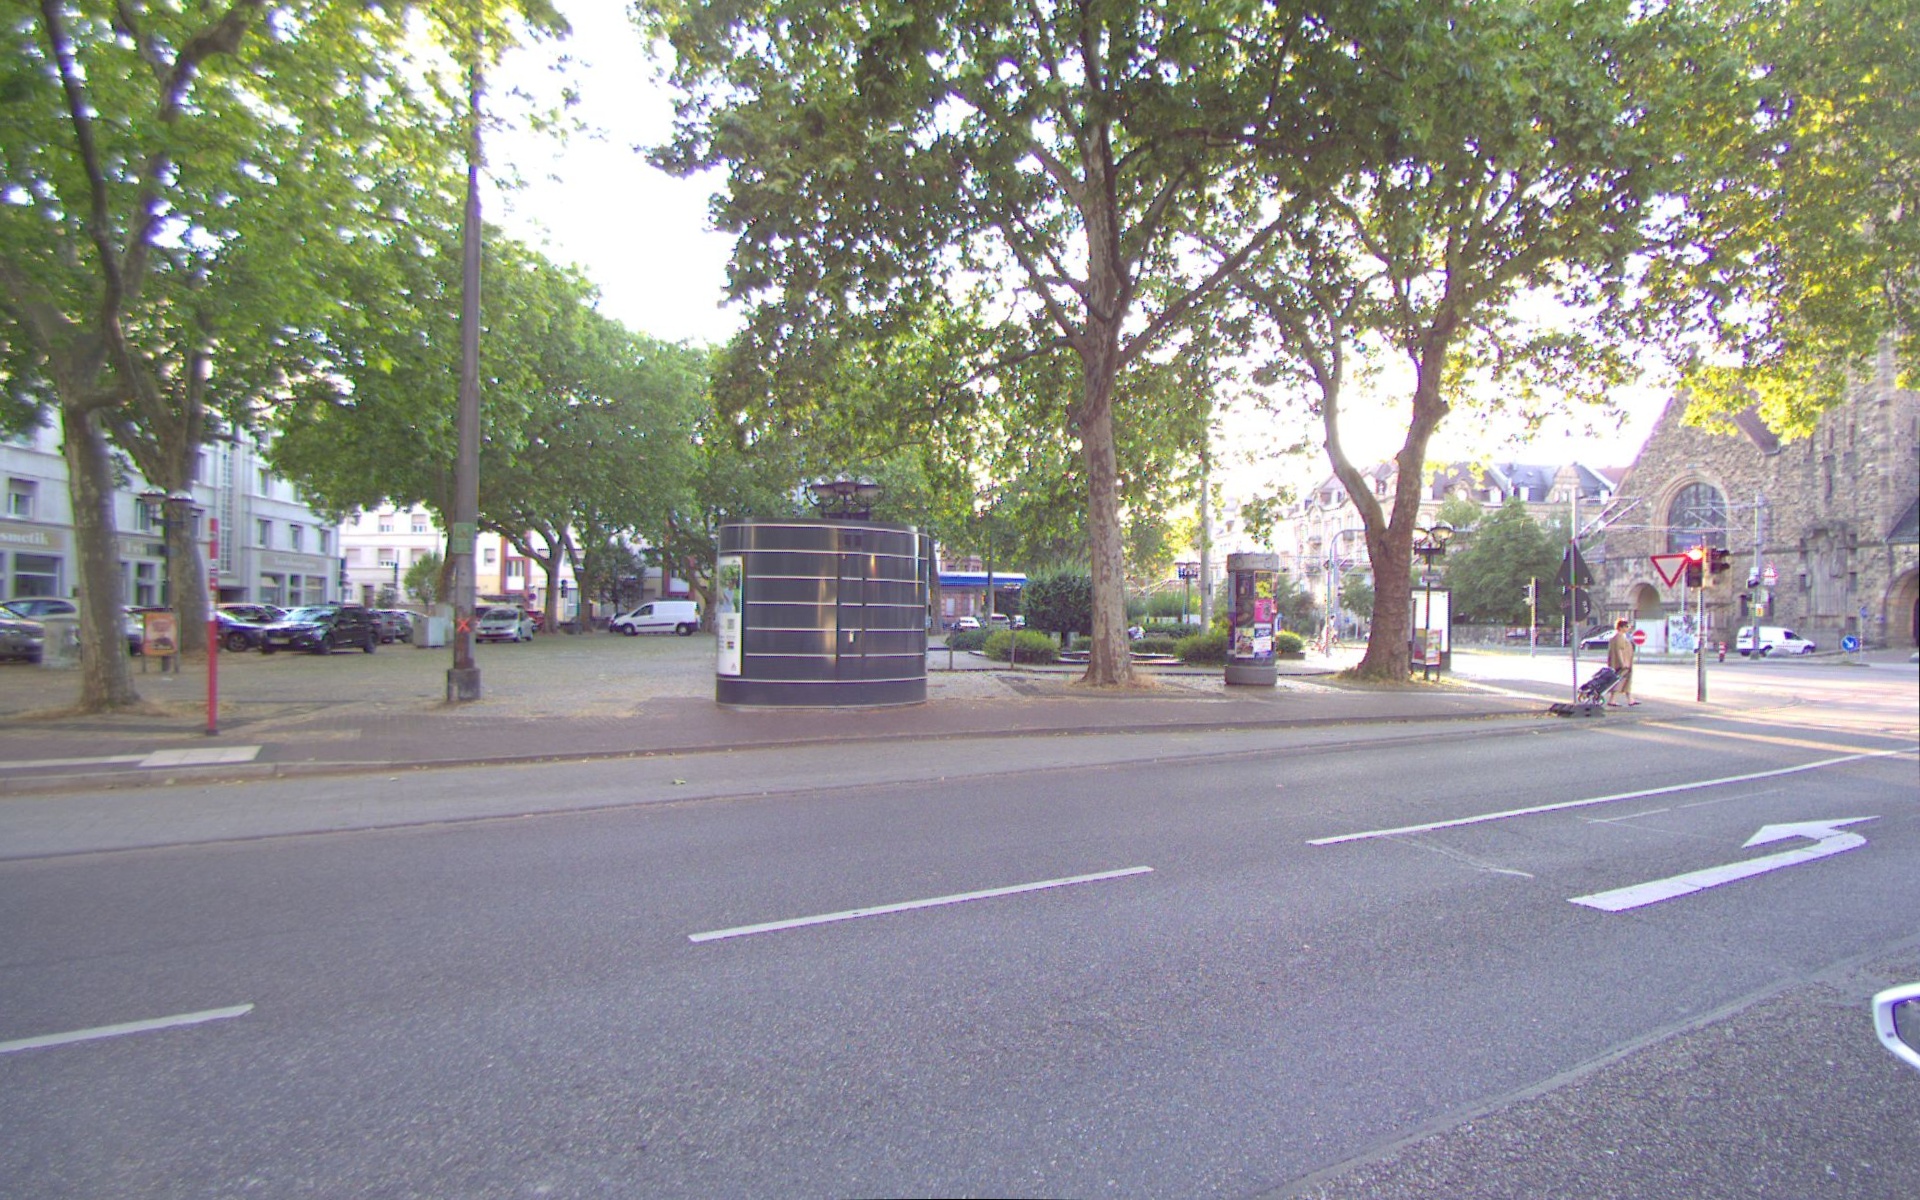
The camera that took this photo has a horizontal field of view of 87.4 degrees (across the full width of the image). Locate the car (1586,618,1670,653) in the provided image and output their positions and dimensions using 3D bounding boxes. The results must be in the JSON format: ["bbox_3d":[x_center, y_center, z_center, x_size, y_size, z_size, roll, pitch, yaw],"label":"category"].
[{"bbox_3d":[40.523,2.144,61.036,1.965,1.637,3.996,10,0,-6],"label":"car"}]

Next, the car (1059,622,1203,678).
[{"bbox_3d":[5.845,1.715,34.672,4.552,1.805,1.999,-1,-2,-5],"label":"car"}]

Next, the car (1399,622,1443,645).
[{"bbox_3d":[37.676,2.747,82.189,1.960,1.706,4.002,2,0,4],"label":"car"}]

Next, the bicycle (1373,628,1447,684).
[{"bbox_3d":[11.323,1.406,25.239,1.967,1.344,0.523,2,0,-26],"label":"bicycle"}]

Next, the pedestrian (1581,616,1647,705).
[{"bbox_3d":[12.558,1.149,19.288,0.766,1.649,0.796,2,0,-35],"label":"pedestrian"}]

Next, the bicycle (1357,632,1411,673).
[{"bbox_3d":[11.938,1.489,28.267,1.780,1.107,0.455,2,0,-33],"label":"bicycle"}]

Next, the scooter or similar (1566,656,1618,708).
[{"bbox_3d":[11.847,1.525,18.832,0.845,0.910,0.586,2,0,-41],"label":"scooter or similar"}]

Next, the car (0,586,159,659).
[{"bbox_3d":[-23.682,0.590,25.694,4.557,1.805,1.997,0,-2,-10],"label":"car"}]

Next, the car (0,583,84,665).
[{"bbox_3d":[-23.123,0.579,22.723,4.557,1.805,1.997,0,-2,-10],"label":"car"}]

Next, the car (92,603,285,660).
[{"bbox_3d":[-25.115,1.020,32.871,4.557,1.758,1.997,0,-2,-10],"label":"car"}]

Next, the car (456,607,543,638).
[{"bbox_3d":[-27.389,1.333,59.930,4.572,1.758,1.990,0,-2,-22],"label":"car"}]

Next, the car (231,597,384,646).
[{"bbox_3d":[-25.298,0.840,39.102,4.557,1.805,1.997,0,-2,-10],"label":"car"}]

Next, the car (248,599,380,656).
[{"bbox_3d":[-19.223,0.812,30.103,1.642,1.549,3.760,2,-2,-4],"label":"car"}]

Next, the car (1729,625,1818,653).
[{"bbox_3d":[50.960,2.426,62.921,4.372,1.537,1.718,2,0,-6],"label":"car"}]

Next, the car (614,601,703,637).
[{"bbox_3d":[-16.861,1.088,56.444,4.557,1.964,1.997,0,-2,-10],"label":"car"}]

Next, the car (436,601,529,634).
[{"bbox_3d":[-27.203,1.007,57.343,4.578,1.834,1.992,0,-2,-20],"label":"car"}]

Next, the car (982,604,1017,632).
[{"bbox_3d":[2.844,1.289,73.320,1.882,1.873,3.995,2,0,-7],"label":"car"}]

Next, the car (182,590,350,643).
[{"bbox_3d":[-25.107,0.605,36.515,4.557,1.805,2.090,0,-2,-10],"label":"car"}]

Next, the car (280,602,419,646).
[{"bbox_3d":[-25.605,1.014,42.278,4.557,1.758,1.997,0,-2,-10],"label":"car"}]

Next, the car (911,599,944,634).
[{"bbox_3d":[-2.384,1.163,72.563,1.963,2.374,3.995,2,0,-7],"label":"car"}]

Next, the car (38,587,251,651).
[{"bbox_3d":[-24.453,0.567,30.292,4.557,1.805,1.997,0,-2,-10],"label":"car"}]

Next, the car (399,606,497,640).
[{"bbox_3d":[-27.723,1.259,54.564,4.572,1.758,1.990,0,-2,-22],"label":"car"}]

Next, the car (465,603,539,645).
[{"bbox_3d":[-19.794,0.996,43.584,1.642,1.684,3.760,2,0,-4],"label":"car"}]

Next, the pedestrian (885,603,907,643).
[{"bbox_3d":[-2.808,0.997,44.168,0.869,1.694,0.740,2,0,-8],"label":"pedestrian"}]

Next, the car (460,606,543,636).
[{"bbox_3d":[-28.314,1.307,62.156,4.572,1.758,1.990,0,-2,-22],"label":"car"}]
